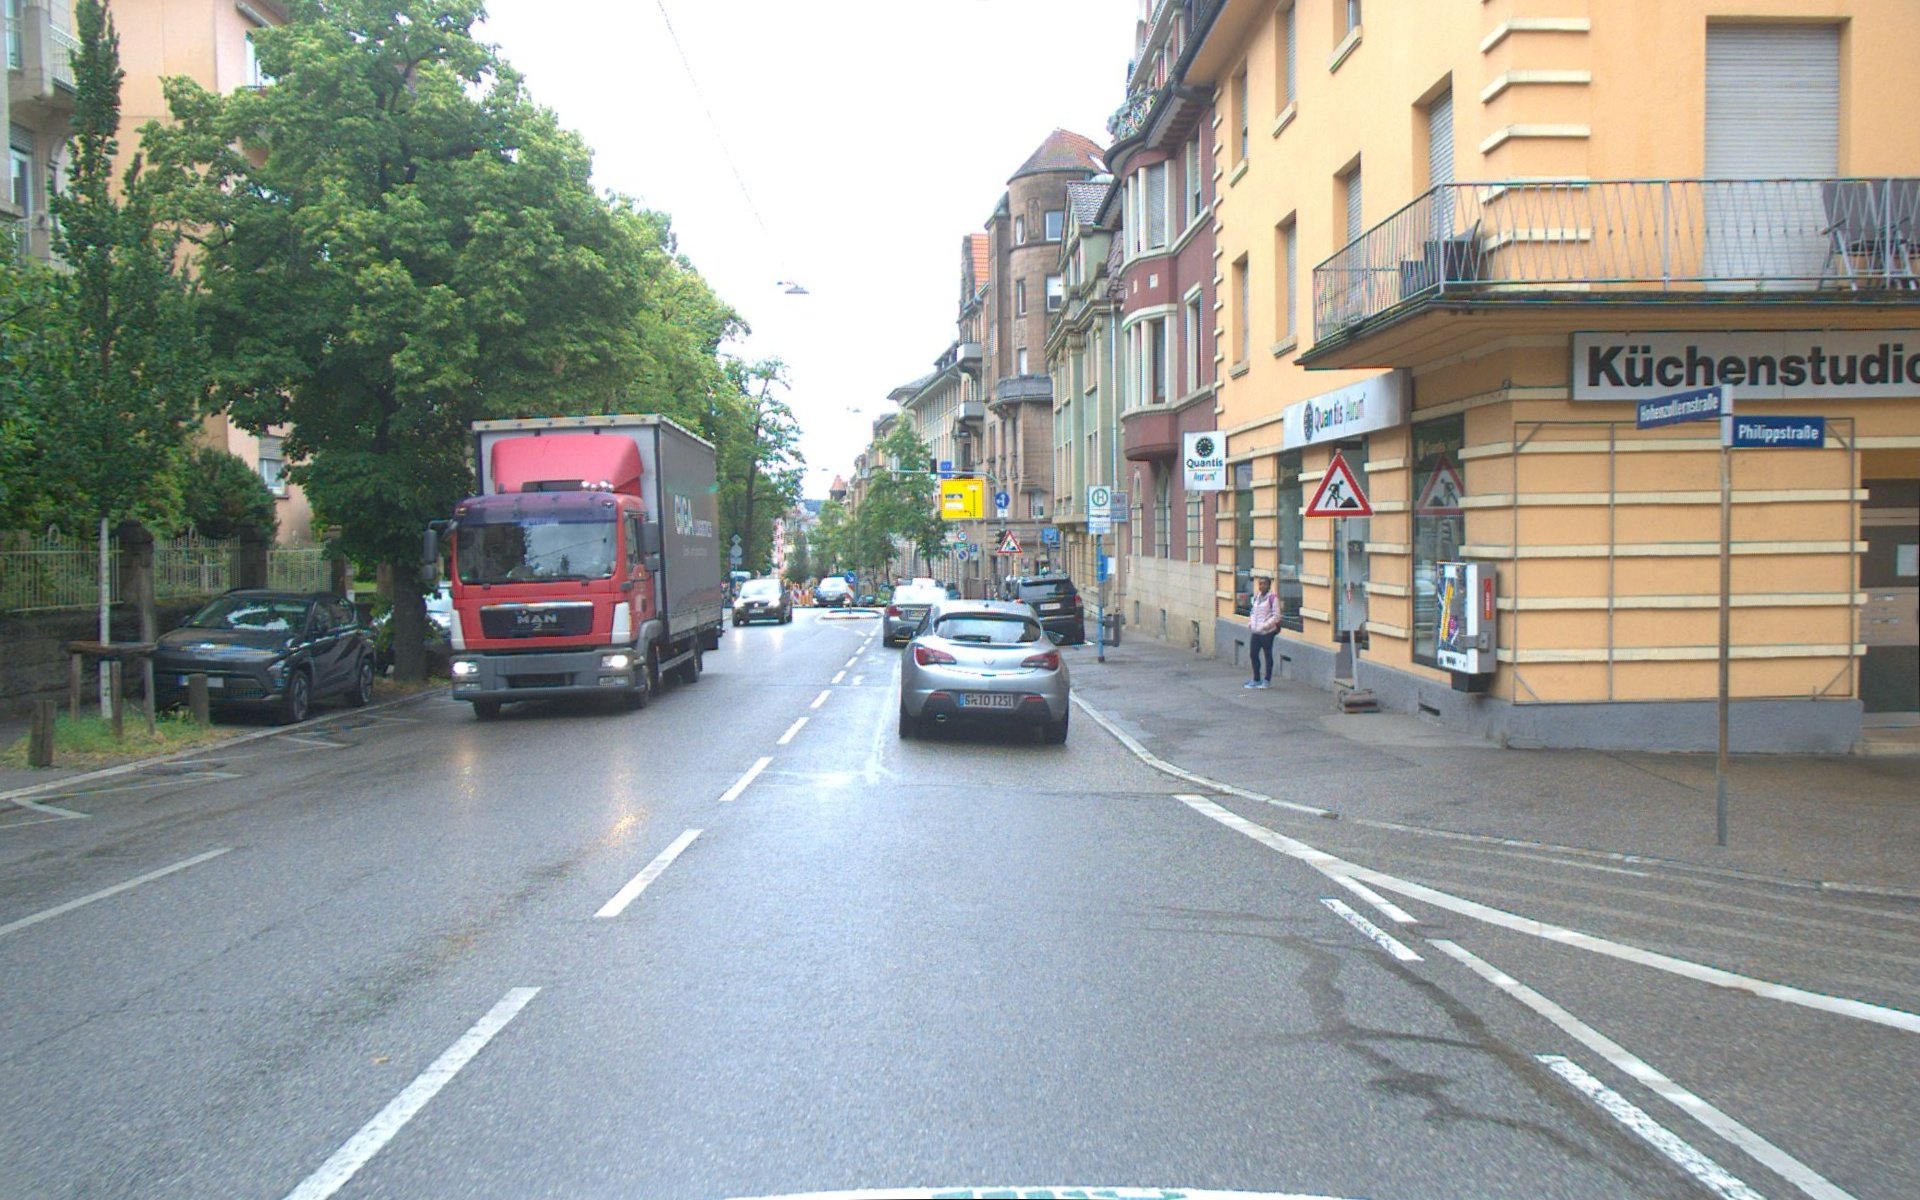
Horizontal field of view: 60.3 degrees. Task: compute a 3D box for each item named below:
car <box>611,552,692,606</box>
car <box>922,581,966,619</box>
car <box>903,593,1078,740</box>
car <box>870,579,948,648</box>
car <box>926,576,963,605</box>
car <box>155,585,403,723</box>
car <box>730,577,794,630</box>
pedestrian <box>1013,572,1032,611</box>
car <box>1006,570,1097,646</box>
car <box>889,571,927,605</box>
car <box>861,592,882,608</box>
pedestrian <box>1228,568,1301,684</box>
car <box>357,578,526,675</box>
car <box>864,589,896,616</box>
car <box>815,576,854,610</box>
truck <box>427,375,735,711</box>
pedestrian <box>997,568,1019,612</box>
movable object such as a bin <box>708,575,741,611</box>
[{"bbox_3d":[-9.551,-0.621,51.467,1.706,1.586,4.301,1,0,-1],"label":"car"},{"bbox_3d":[-0.670,-0.004,68.575,1.736,1.531,3.868,1,0,-1],"label":"car"},{"bbox_3d":[0.311,0.677,18.768,1.774,1.475,3.869,1,0,0],"label":"car"},{"bbox_3d":[-1.168,0.316,39.267,1.736,1.531,3.868,1,0,-1],"label":"car"},{"bbox_3d":[-0.891,-0.537,95.638,1.626,1.570,3.658,-3,0,-8],"label":"car"},{"bbox_3d":[-8.903,0.648,22.016,1.707,1.586,4.298,2,0,-4],"label":"car"},{"bbox_3d":[-6.600,0.094,55.496,1.736,1.543,4.589,-1,2,-2],"label":"car"},{"bbox_3d":[2.652,-0.354,69.796,0.584,1.612,0.666,-2,1,17],"label":"pedestrian"},{"bbox_3d":[2.182,0.194,40.635,1.839,1.658,4.696,-3,0,-1],"label":"car"},{"bbox_3d":[-2.614,-0.573,82.699,1.624,1.570,3.661,-3,0,-5],"label":"car"},{"bbox_3d":[-8.025,-0.006,149.632,1.606,1.454,3.370,-1,0,-8],"label":"car"},{"bbox_3d":[4.343,0.361,23.594,0.755,1.617,0.708,-1,0,-20],"label":"pedestrian"},{"bbox_3d":[-9.288,0.449,29.987,1.706,1.586,4.301,1,0,-1],"label":"car"},{"bbox_3d":[-4.986,0.142,102.906,1.626,1.570,3.658,-3,0,-8],"label":"car"},{"bbox_3d":[-5.982,-0.353,79.390,1.779,1.544,4.545,1,1,-3],"label":"car"},{"bbox_3d":[-5.179,-0.717,24.490,2.595,3.922,9.303,-2,0,-2],"label":"truck"},{"bbox_3d":[2.028,-0.432,70.036,0.703,1.805,0.666,-2,1,17],"label":"pedestrian"},{"bbox_3d":[-15.928,-0.485,111.819,1.954,2.339,2.813,-1,0,-4],"label":"movable object such as a bin"}]
